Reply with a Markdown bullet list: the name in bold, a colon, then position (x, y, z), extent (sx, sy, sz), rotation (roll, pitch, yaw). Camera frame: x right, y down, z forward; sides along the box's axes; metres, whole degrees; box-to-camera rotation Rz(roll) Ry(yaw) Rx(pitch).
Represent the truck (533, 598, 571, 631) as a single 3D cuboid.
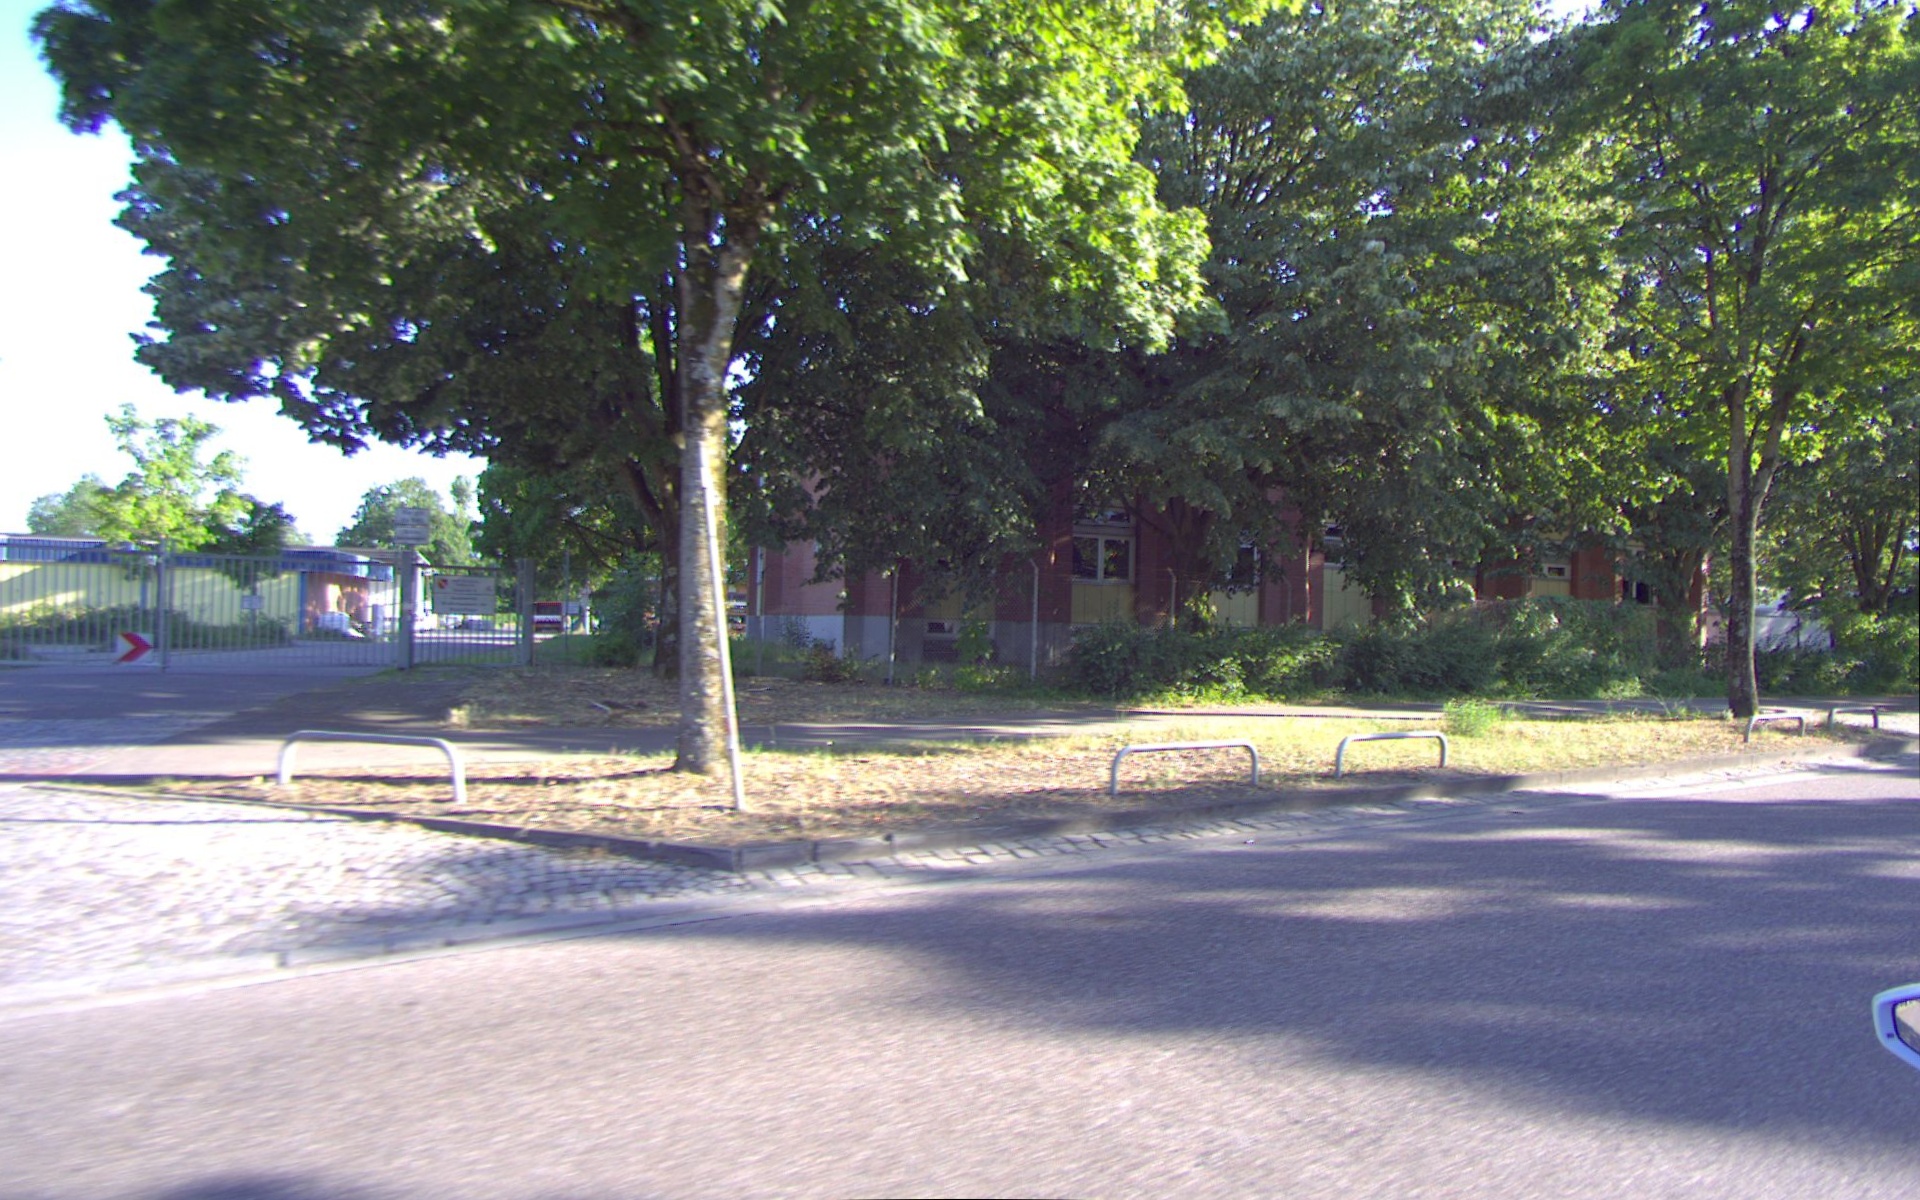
- **truck**: position (-33.686, 1.242, 83.054), extent (2.253, 2.618, 4.986), rotation (1, -1, -16)
